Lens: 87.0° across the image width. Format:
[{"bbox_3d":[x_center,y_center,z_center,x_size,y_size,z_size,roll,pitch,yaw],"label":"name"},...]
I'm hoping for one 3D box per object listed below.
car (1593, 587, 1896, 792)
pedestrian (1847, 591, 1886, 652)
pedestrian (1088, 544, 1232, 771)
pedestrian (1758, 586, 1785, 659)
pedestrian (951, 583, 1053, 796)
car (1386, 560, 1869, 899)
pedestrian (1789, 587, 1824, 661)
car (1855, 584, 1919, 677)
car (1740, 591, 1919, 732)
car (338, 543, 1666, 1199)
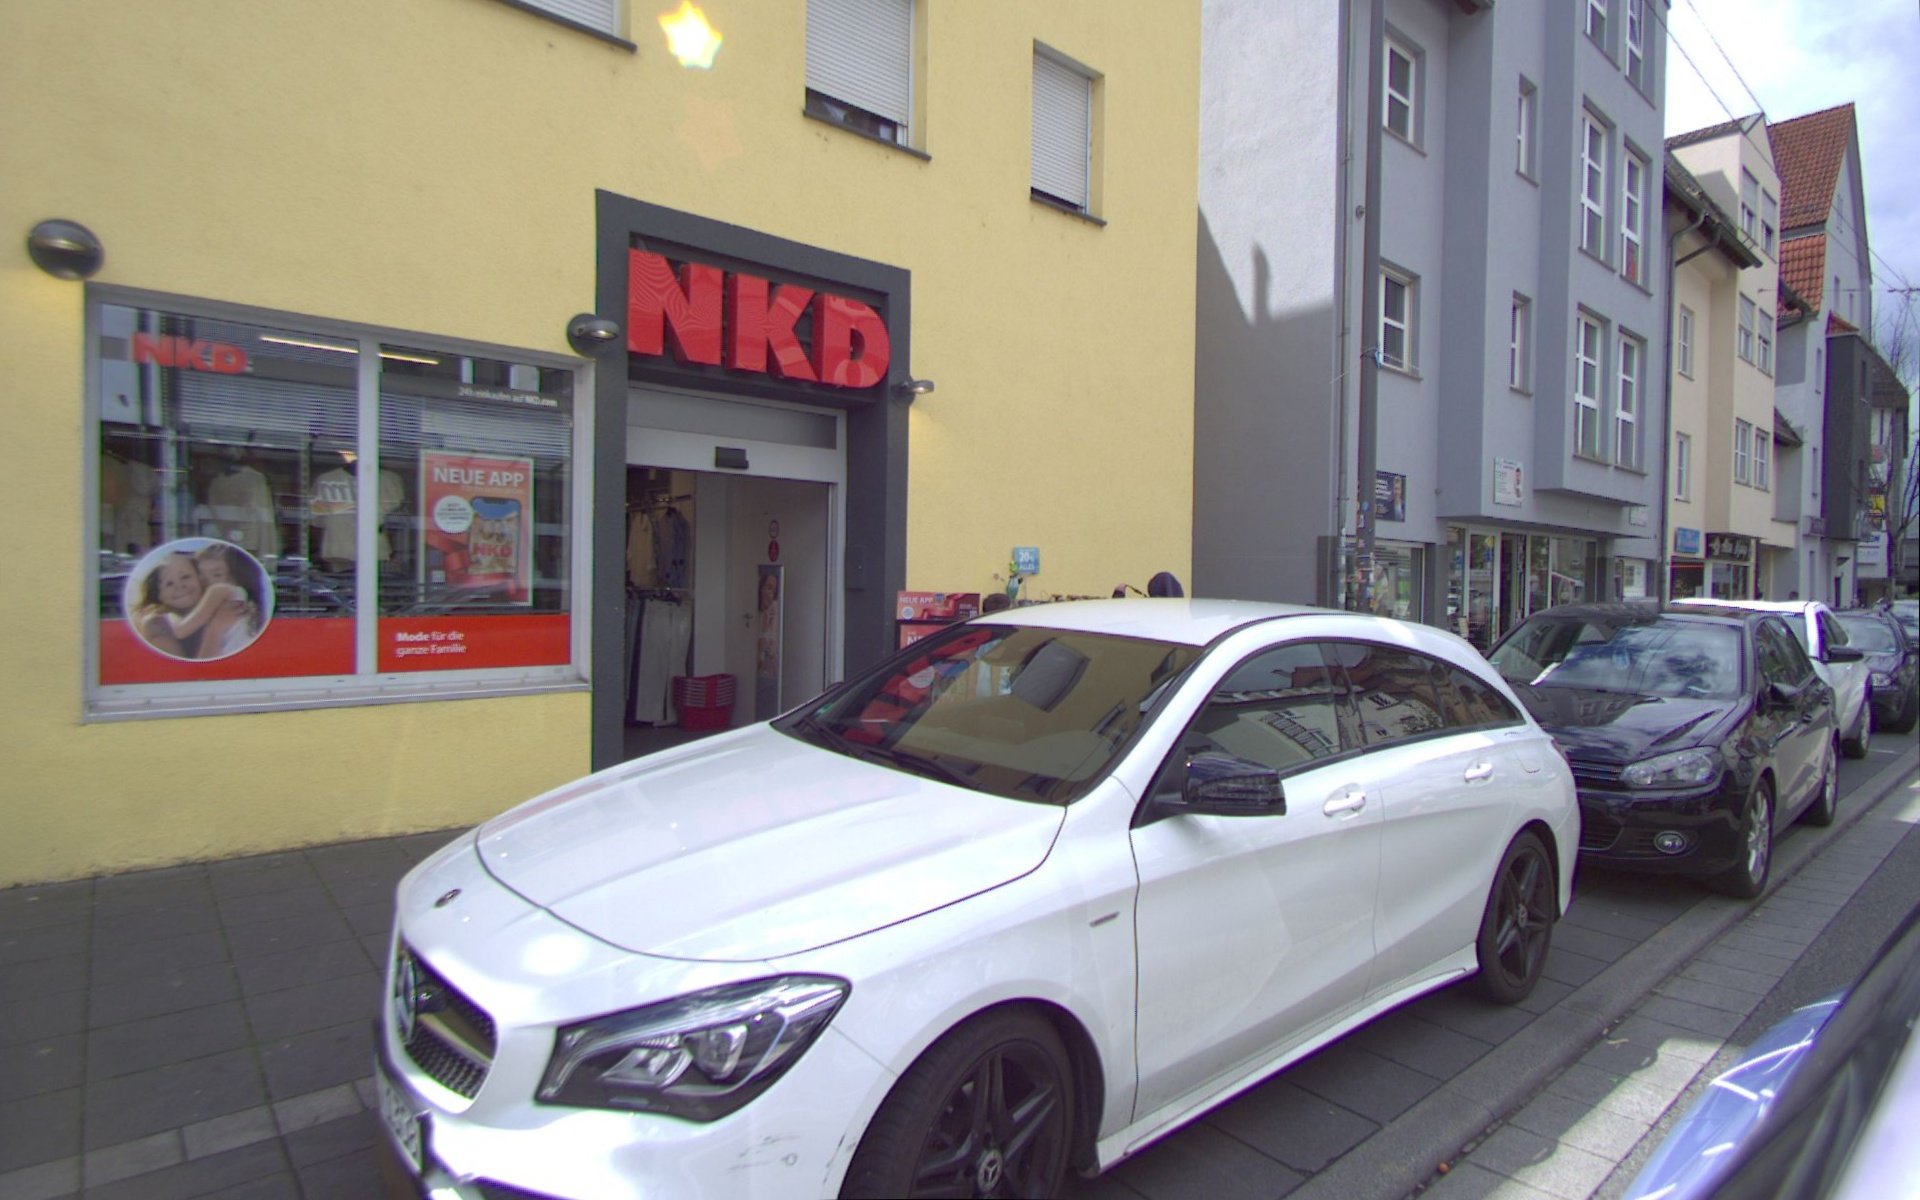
[{"bbox_3d":[7.677,0.685,9.788,3.692,1.594,1.691,-1,0,-42],"label":"car"},{"bbox_3d":[26.232,0.608,29.289,0.644,1.739,0.744,0,1,-42],"label":"pedestrian"},{"bbox_3d":[1.477,0.381,7.500,0.713,1.572,0.751,0,2,-41],"label":"pedestrian"},{"bbox_3d":[19.760,0.538,24.639,0.528,1.739,0.436,0,0,-43],"label":"pedestrian"},{"bbox_3d":[0.279,0.581,6.894,0.527,1.381,0.446,1,1,-24],"label":"pedestrian"},{"bbox_3d":[4.587,0.625,6.625,4.447,1.491,1.690,2,-2,-44],"label":"car"},{"bbox_3d":[20.187,0.553,24.135,0.596,1.739,0.536,0,0,-42],"label":"pedestrian"},{"bbox_3d":[18.675,0.564,19.406,4.132,1.623,1.802,0,3,-43],"label":"car"},{"bbox_3d":[11.729,0.671,13.312,4.225,1.458,1.691,-1,4,-44],"label":"car"},{"bbox_3d":[0.750,0.638,3.588,4.869,1.494,1.634,-1,0,-40],"label":"car"}]
